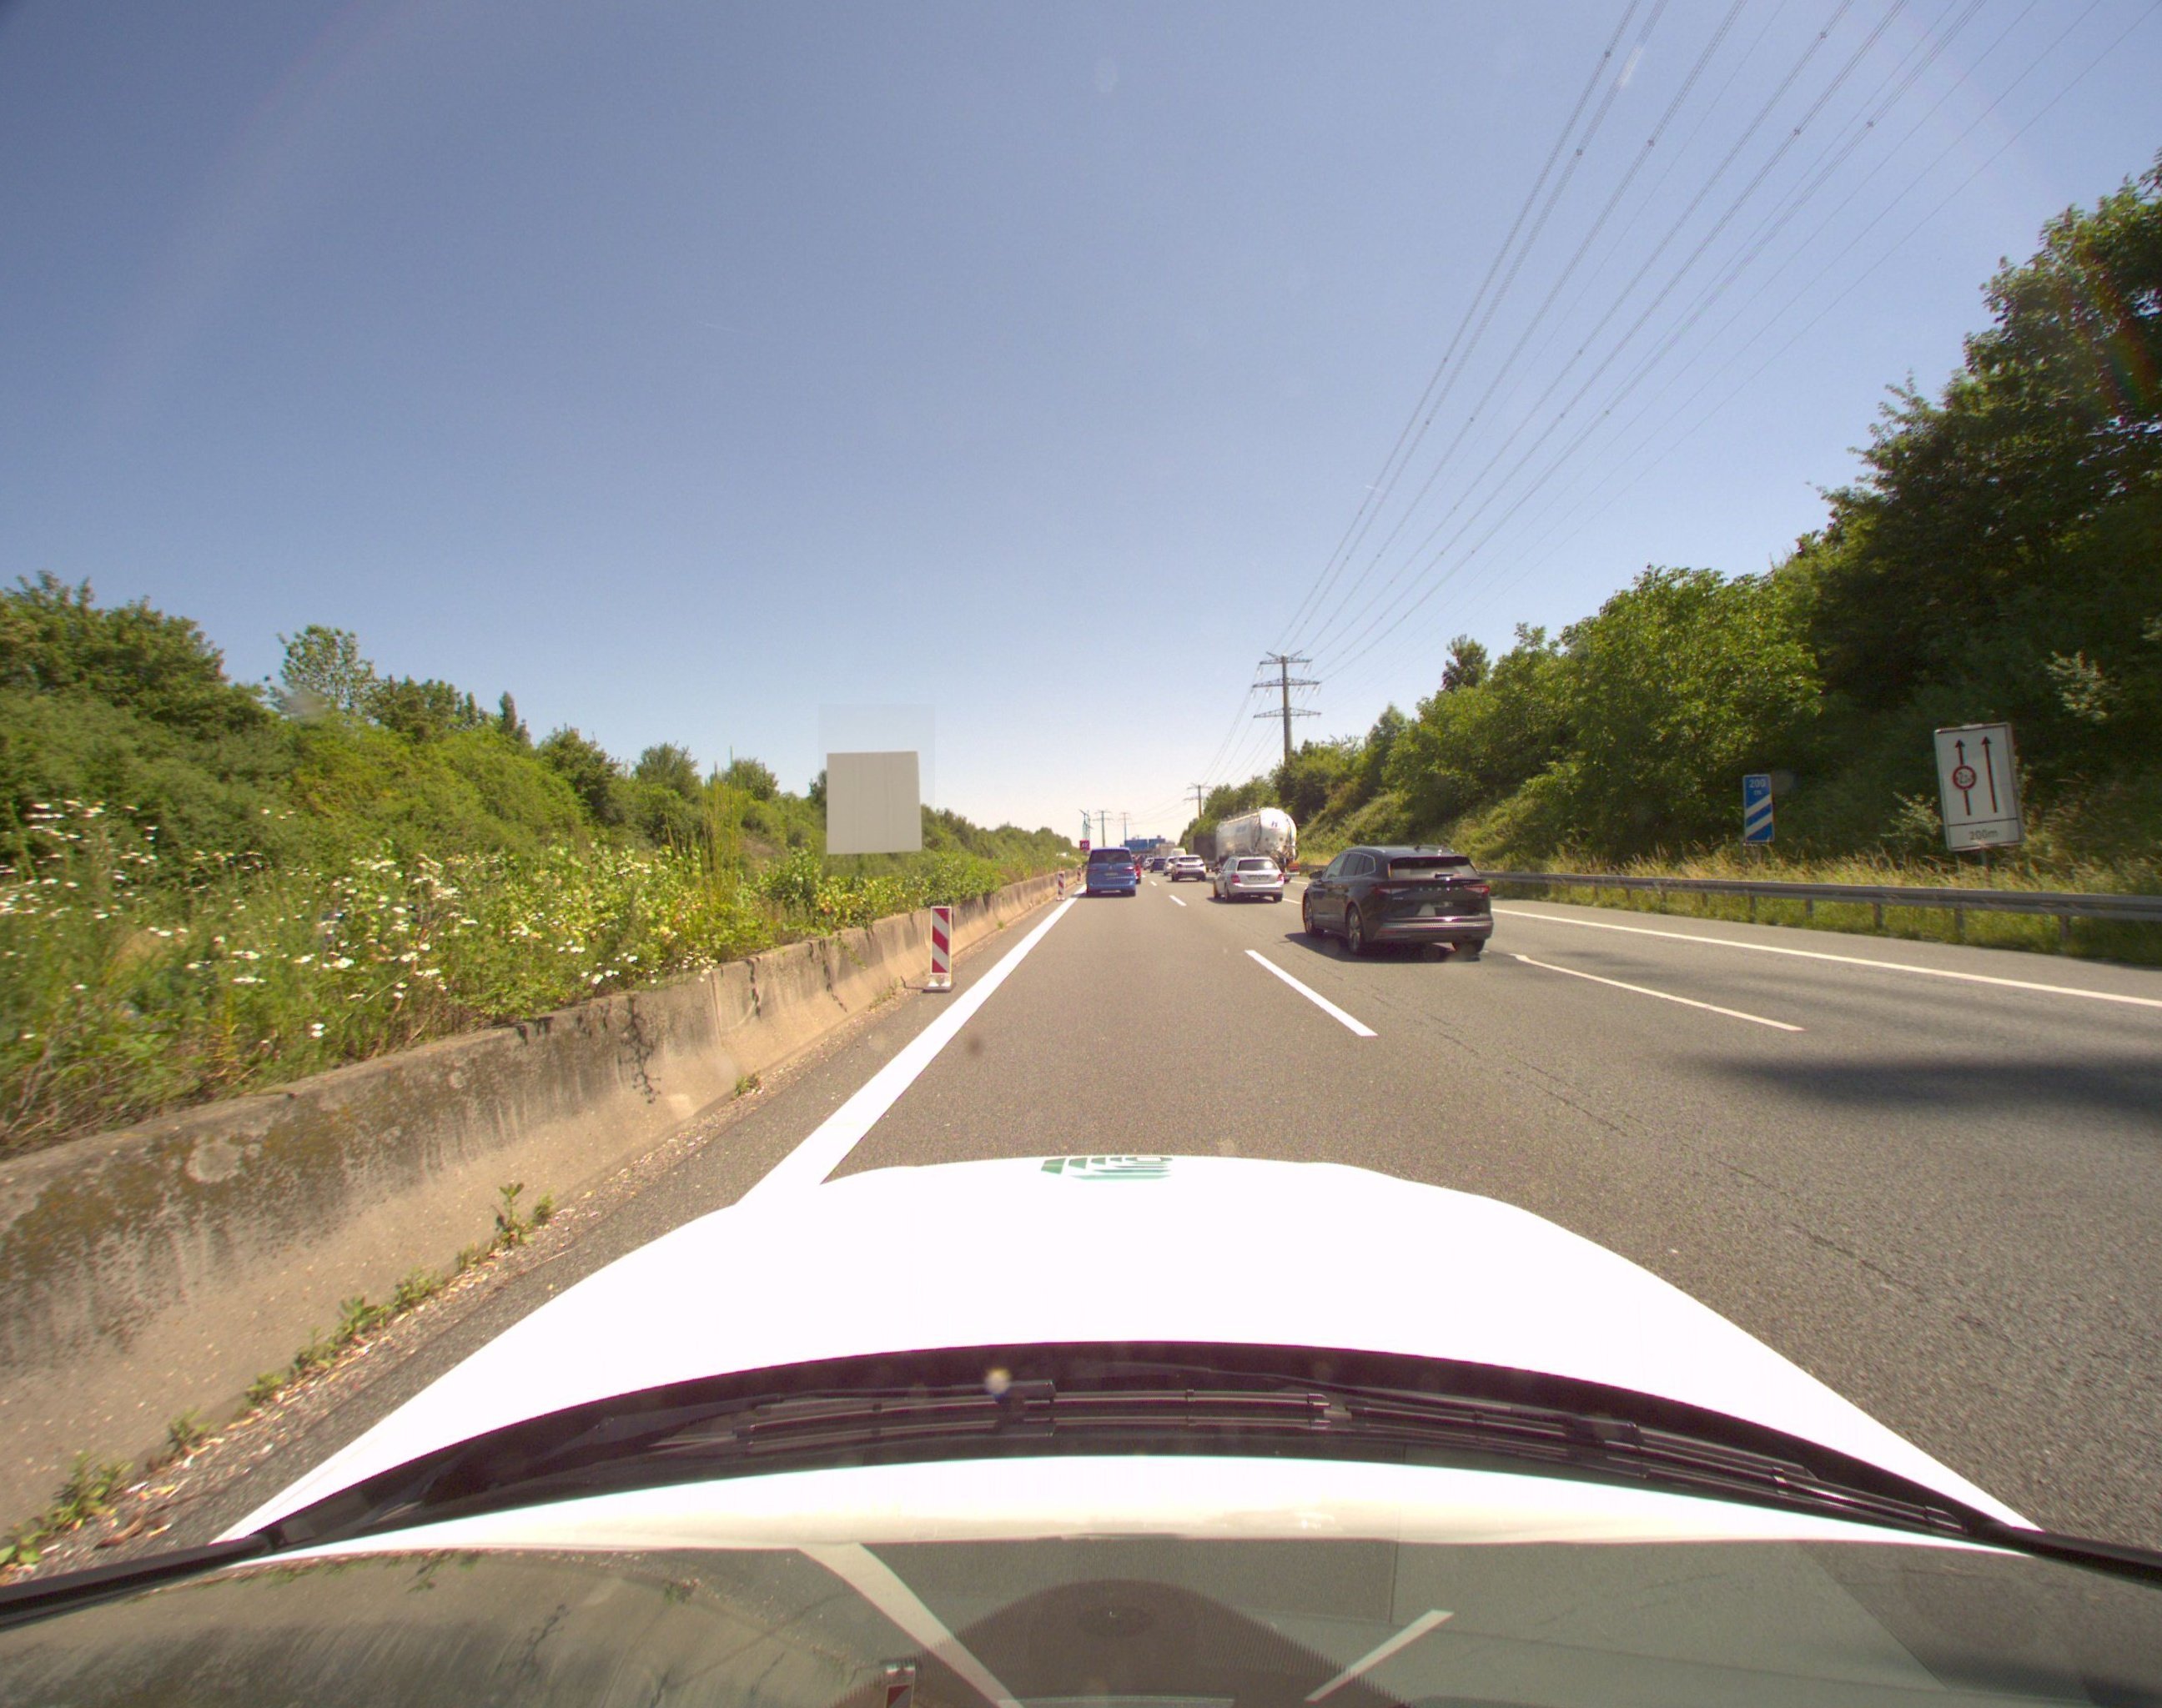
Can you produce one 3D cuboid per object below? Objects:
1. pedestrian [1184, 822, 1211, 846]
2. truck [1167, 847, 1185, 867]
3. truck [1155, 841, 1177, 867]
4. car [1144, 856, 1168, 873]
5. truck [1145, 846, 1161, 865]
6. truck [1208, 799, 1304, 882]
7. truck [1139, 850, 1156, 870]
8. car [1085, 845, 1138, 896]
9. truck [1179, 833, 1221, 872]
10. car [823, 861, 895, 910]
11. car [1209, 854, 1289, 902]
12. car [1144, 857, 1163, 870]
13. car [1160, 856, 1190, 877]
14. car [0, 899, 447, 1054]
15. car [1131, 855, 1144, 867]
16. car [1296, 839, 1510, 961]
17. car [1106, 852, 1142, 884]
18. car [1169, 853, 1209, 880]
[{"bbox_3d":[10.206,-1.723,71.643,1.985,2.014,4.003,0,-1,3],"label":"pedestrian"},{"bbox_3d":[12.989,0.448,111.895,1.986,2.724,5.682,0,-1,2],"label":"truck"},{"bbox_3d":[14.772,0.005,142.028,2.927,4.291,12.556,0,0,2],"label":"truck"},{"bbox_3d":[7.190,1.002,78.446,1.902,1.516,4.384,0,-1,1],"label":"car"},{"bbox_3d":[16.770,0.385,190.816,2.927,4.291,12.556,0,0,2],"label":"truck"},{"bbox_3d":[9.886,-0.595,48.267,2.635,4.072,16.446,0,0,2],"label":"truck"},{"bbox_3d":[9.021,0.817,110.684,1.986,2.724,5.682,0,-1,2],"label":"truck"},{"bbox_3d":[1.142,0.636,32.240,1.865,1.879,4.381,0,-1,-1],"label":"car"},{"bbox_3d":[11.419,-0.101,79.369,2.635,3.539,12.556,0,0,2],"label":"truck"},{"bbox_3d":[-9.986,1.360,36.987,1.954,2.013,4.411,-2,0,1],"label":"car"},{"bbox_3d":[5.423,0.742,26.815,1.814,1.437,4.384,0,0,1],"label":"car"},{"bbox_3d":[8.499,1.118,95.895,1.902,1.516,4.384,0,-1,1],"label":"car"},{"bbox_3d":[7.361,0.967,63.881,1.902,1.569,4.384,0,-1,1],"label":"car"},{"bbox_3d":[-10.969,1.447,10.884,1.735,1.487,4.002,0,-1,2],"label":"car"},{"bbox_3d":[9.285,1.116,134.027,1.986,2.014,4.001,0,-1,2],"label":"car"},{"bbox_3d":[4.897,0.626,13.134,1.821,1.614,4.433,-1,0,2],"label":"car"},{"bbox_3d":[2.383,0.767,45.719,1.901,1.631,4.385,-1,-1,2],"label":"car"},{"bbox_3d":[6.272,0.729,47.811,1.902,1.508,3.922,0,-1,1],"label":"car"}]
